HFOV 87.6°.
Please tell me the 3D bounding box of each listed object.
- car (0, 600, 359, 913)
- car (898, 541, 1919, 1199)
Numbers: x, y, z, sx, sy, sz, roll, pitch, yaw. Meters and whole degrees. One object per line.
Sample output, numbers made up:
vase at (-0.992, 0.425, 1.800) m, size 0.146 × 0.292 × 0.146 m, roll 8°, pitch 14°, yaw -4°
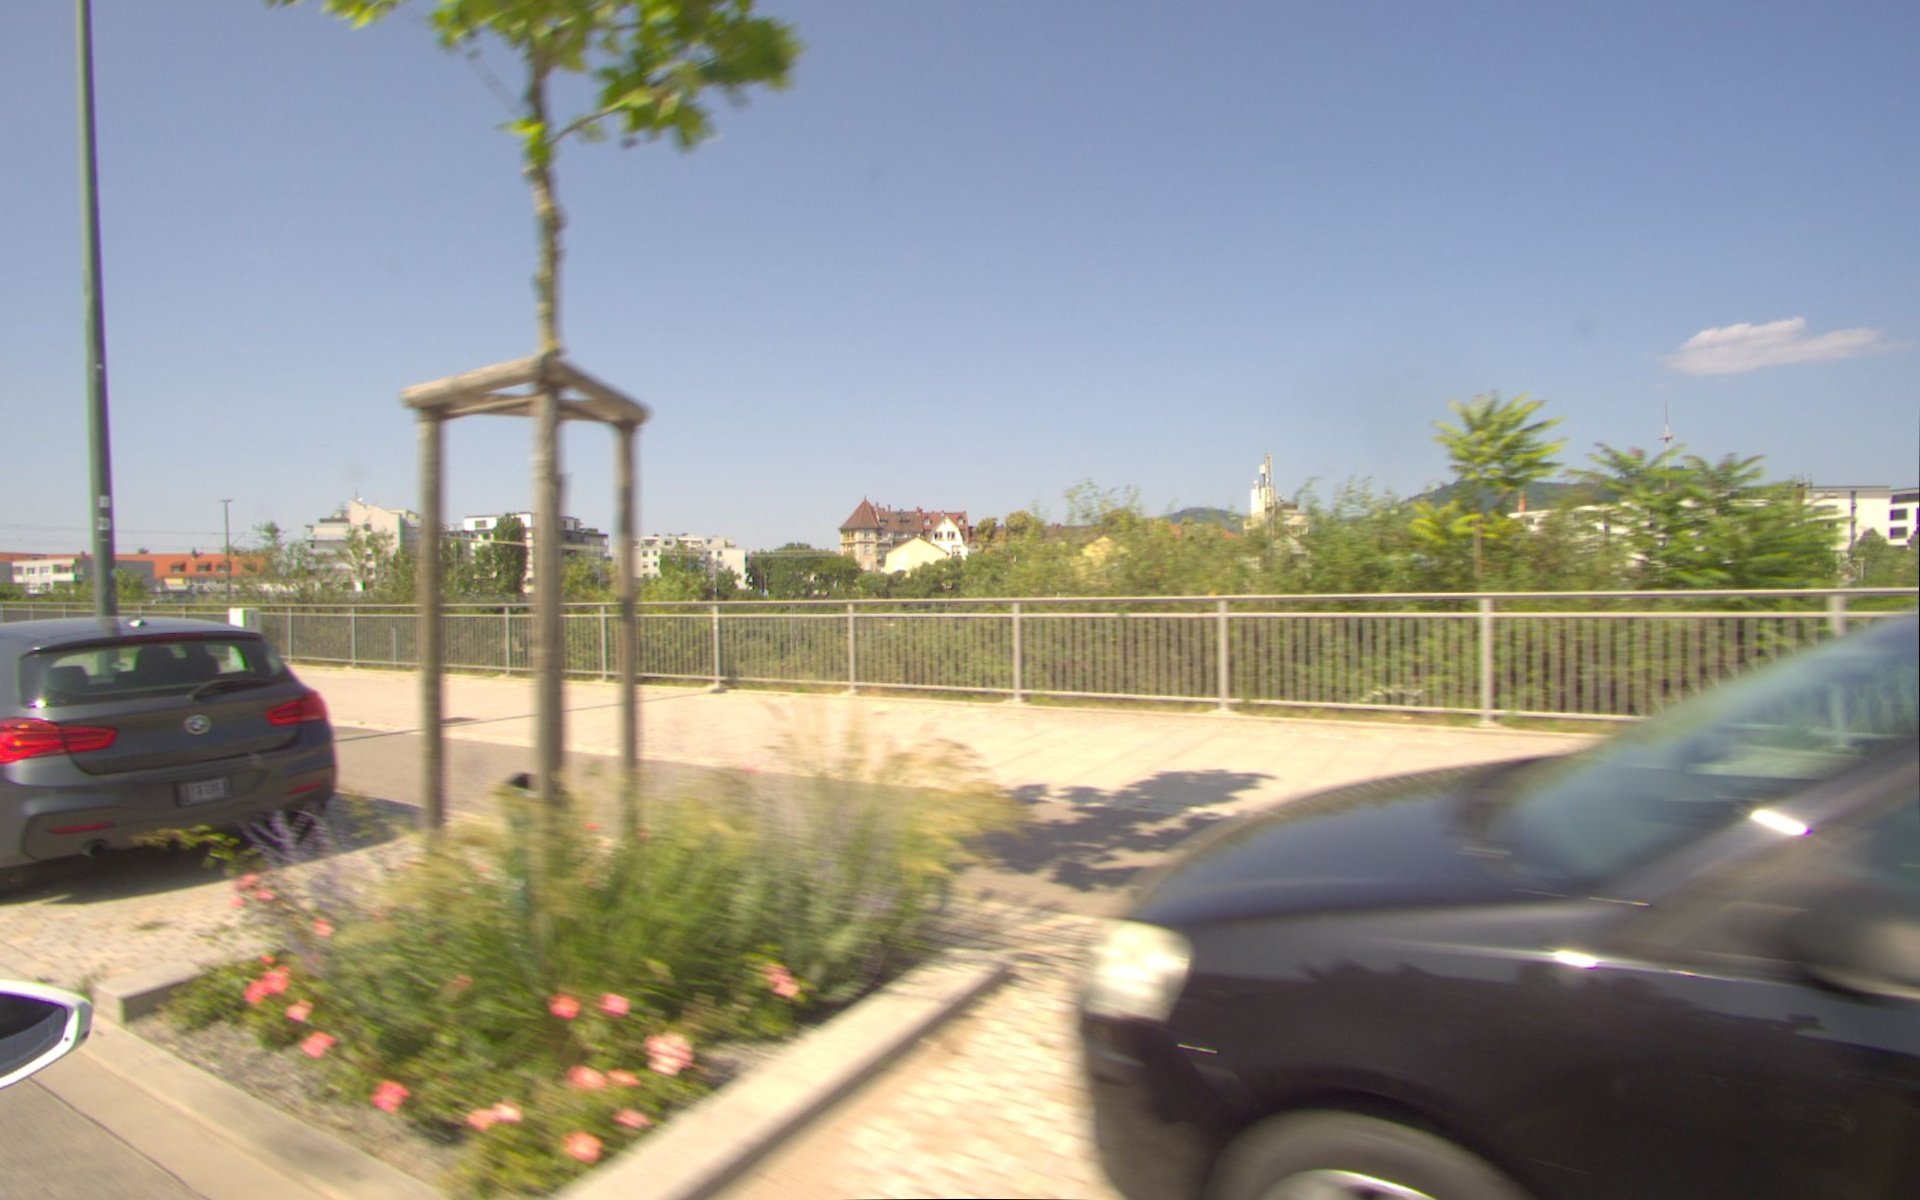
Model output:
car at (-5.866, 0.786, 6.467) m, size 4.210 × 1.420 × 1.699 m, roll -2°, pitch 1°, yaw 33°
car at (2.003, 0.631, 1.756) m, size 3.896 × 1.482 × 1.701 m, roll -2°, pitch 1°, yaw 30°
